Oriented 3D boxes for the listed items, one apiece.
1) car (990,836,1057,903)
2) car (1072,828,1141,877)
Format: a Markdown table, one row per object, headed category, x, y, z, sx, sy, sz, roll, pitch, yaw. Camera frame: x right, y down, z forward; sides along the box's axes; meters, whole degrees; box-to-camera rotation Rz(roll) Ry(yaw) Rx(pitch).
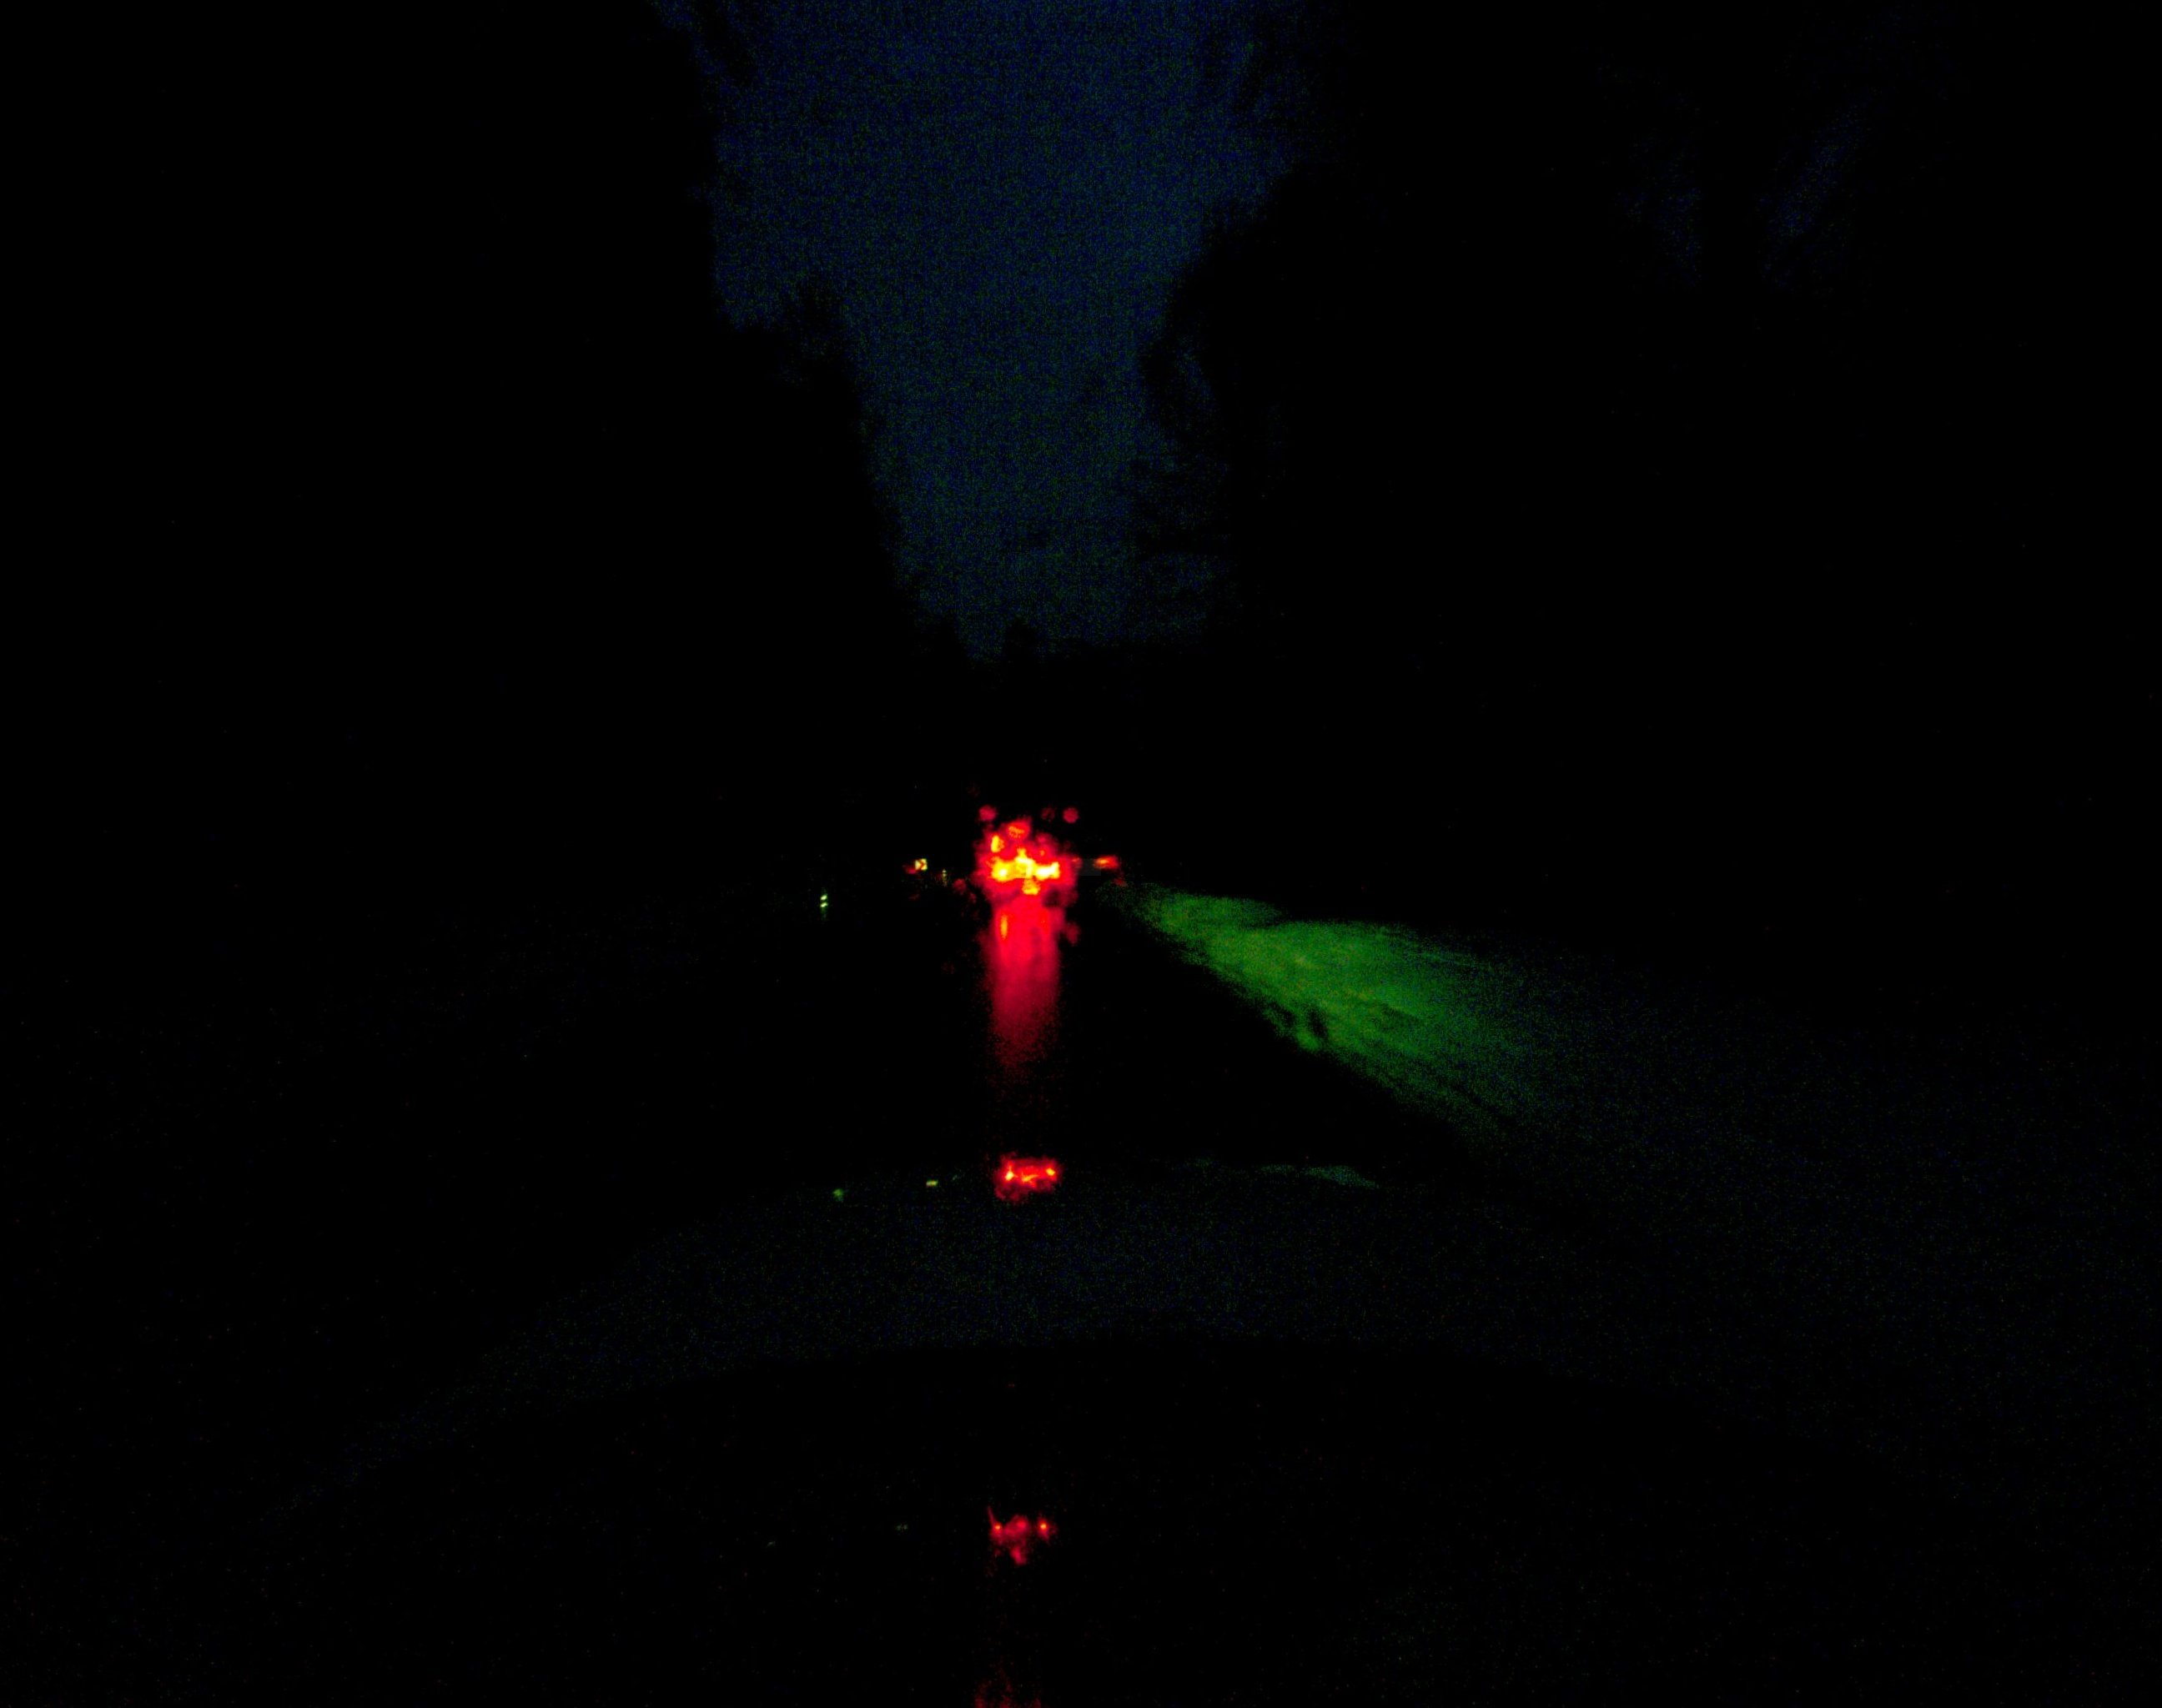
| category | x | y | z | sx | sy | sz | roll | pitch | yaw |
| --- | --- | --- | --- | --- | --- | --- | --- | --- | --- |
| car | -1.870 | 0.508 | 27.617 | 1.988 | 2.052 | 3.997 | -2 | -1 | -2 |
| car | 1.549 | -0.121 | 46.904 | 2.232 | 2.645 | 5.034 | 0 | 1 | 24 |
